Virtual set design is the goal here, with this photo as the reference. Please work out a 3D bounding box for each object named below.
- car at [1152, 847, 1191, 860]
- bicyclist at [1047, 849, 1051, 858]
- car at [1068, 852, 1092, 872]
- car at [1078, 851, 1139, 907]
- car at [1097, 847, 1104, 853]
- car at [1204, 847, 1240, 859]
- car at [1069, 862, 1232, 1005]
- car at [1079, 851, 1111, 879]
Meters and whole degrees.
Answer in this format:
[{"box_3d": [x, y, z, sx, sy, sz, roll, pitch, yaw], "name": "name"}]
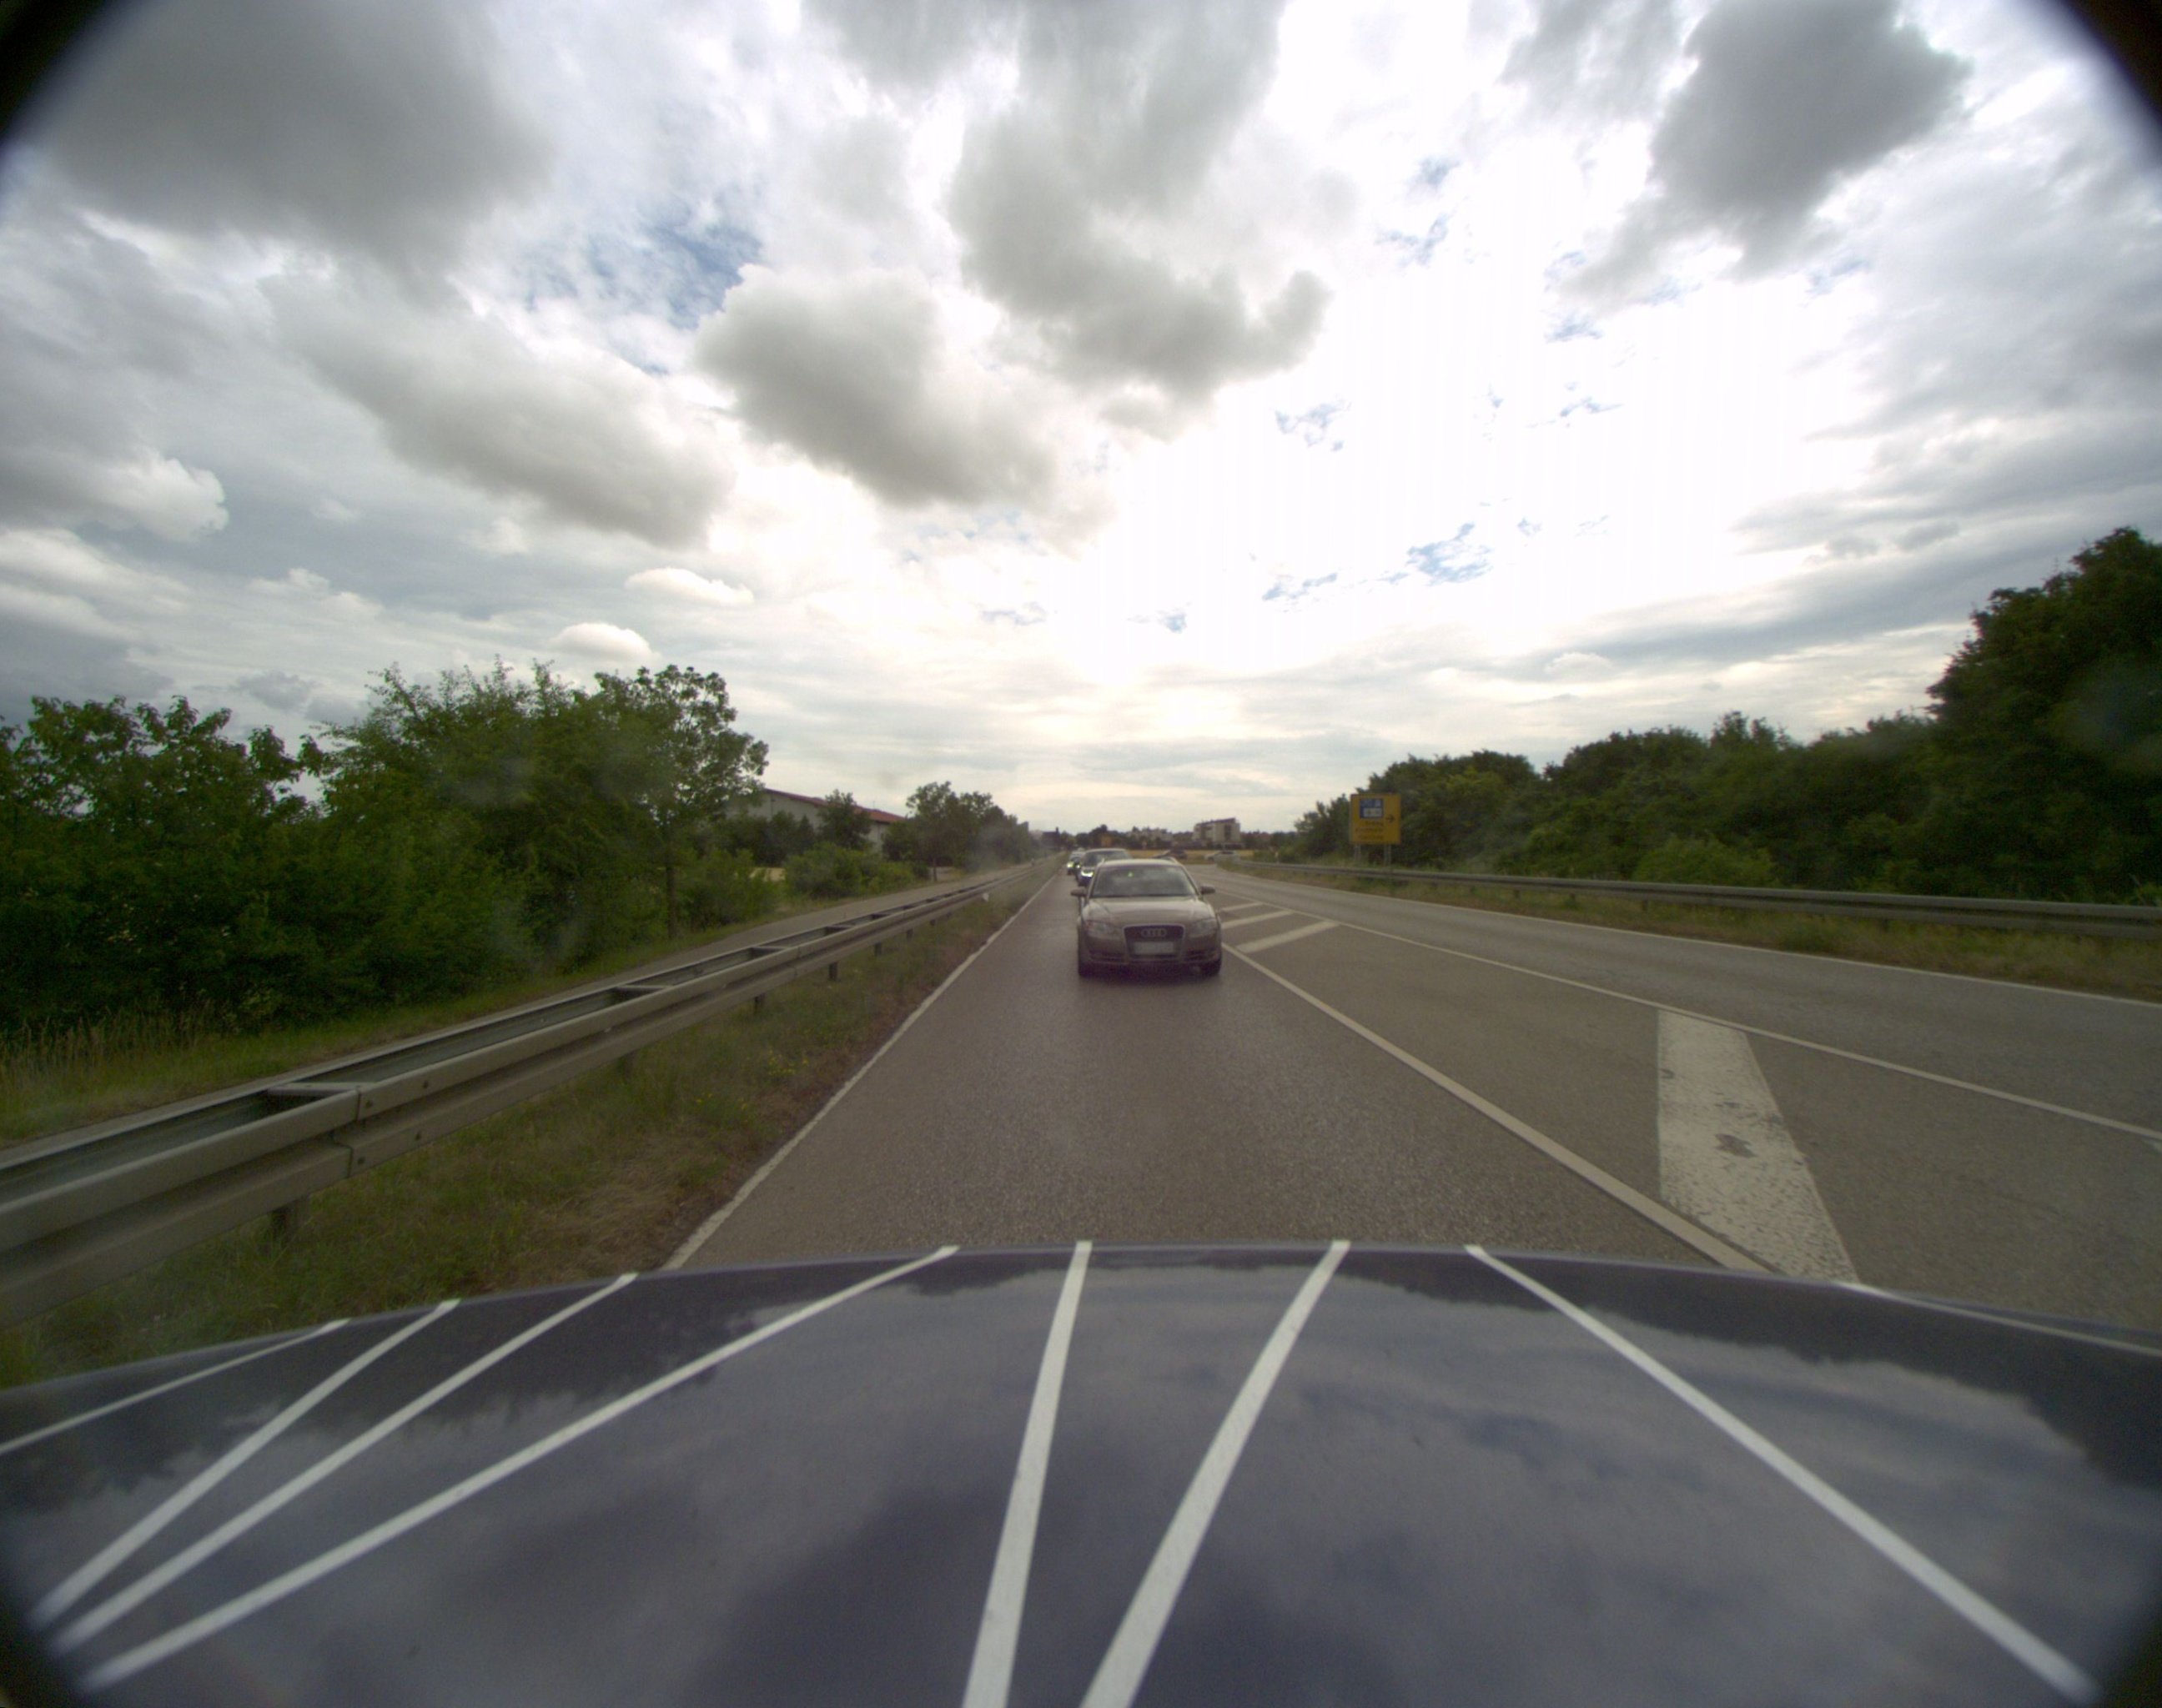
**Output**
[{"box_3d": [11.955, -0.058, 100.741, 4.816, 1.680, 1.999, -1, 1, -4], "name": "car"}, {"box_3d": [-6.018, -0.082, 141.887, 0.640, 1.573, 0.969, -1, 1, 0], "name": "bicyclist"}, {"box_3d": [-0.093, 0.567, 57.295, 1.730, 1.436, 4.203, -2, 1, 0], "name": "car"}, {"box_3d": [0.789, 0.717, 24.114, 1.730, 1.534, 4.203, -2, 1, 0], "name": "car"}, {"box_3d": [5.196, -1.102, 202.851, 1.804, 1.442, 4.445, -1, 1, -1], "name": "car"}, {"box_3d": [18.669, -0.176, 100.801, 4.672, 1.490, 2.001, -1, 1, 9], "name": "car"}, {"box_3d": [0.733, 0.875, 10.266, 1.730, 1.436, 4.203, -1, 1, 0], "name": "car"}, {"box_3d": [0.805, 0.621, 45.028, 1.730, 1.478, 4.203, -2, 1, 0], "name": "car"}]
